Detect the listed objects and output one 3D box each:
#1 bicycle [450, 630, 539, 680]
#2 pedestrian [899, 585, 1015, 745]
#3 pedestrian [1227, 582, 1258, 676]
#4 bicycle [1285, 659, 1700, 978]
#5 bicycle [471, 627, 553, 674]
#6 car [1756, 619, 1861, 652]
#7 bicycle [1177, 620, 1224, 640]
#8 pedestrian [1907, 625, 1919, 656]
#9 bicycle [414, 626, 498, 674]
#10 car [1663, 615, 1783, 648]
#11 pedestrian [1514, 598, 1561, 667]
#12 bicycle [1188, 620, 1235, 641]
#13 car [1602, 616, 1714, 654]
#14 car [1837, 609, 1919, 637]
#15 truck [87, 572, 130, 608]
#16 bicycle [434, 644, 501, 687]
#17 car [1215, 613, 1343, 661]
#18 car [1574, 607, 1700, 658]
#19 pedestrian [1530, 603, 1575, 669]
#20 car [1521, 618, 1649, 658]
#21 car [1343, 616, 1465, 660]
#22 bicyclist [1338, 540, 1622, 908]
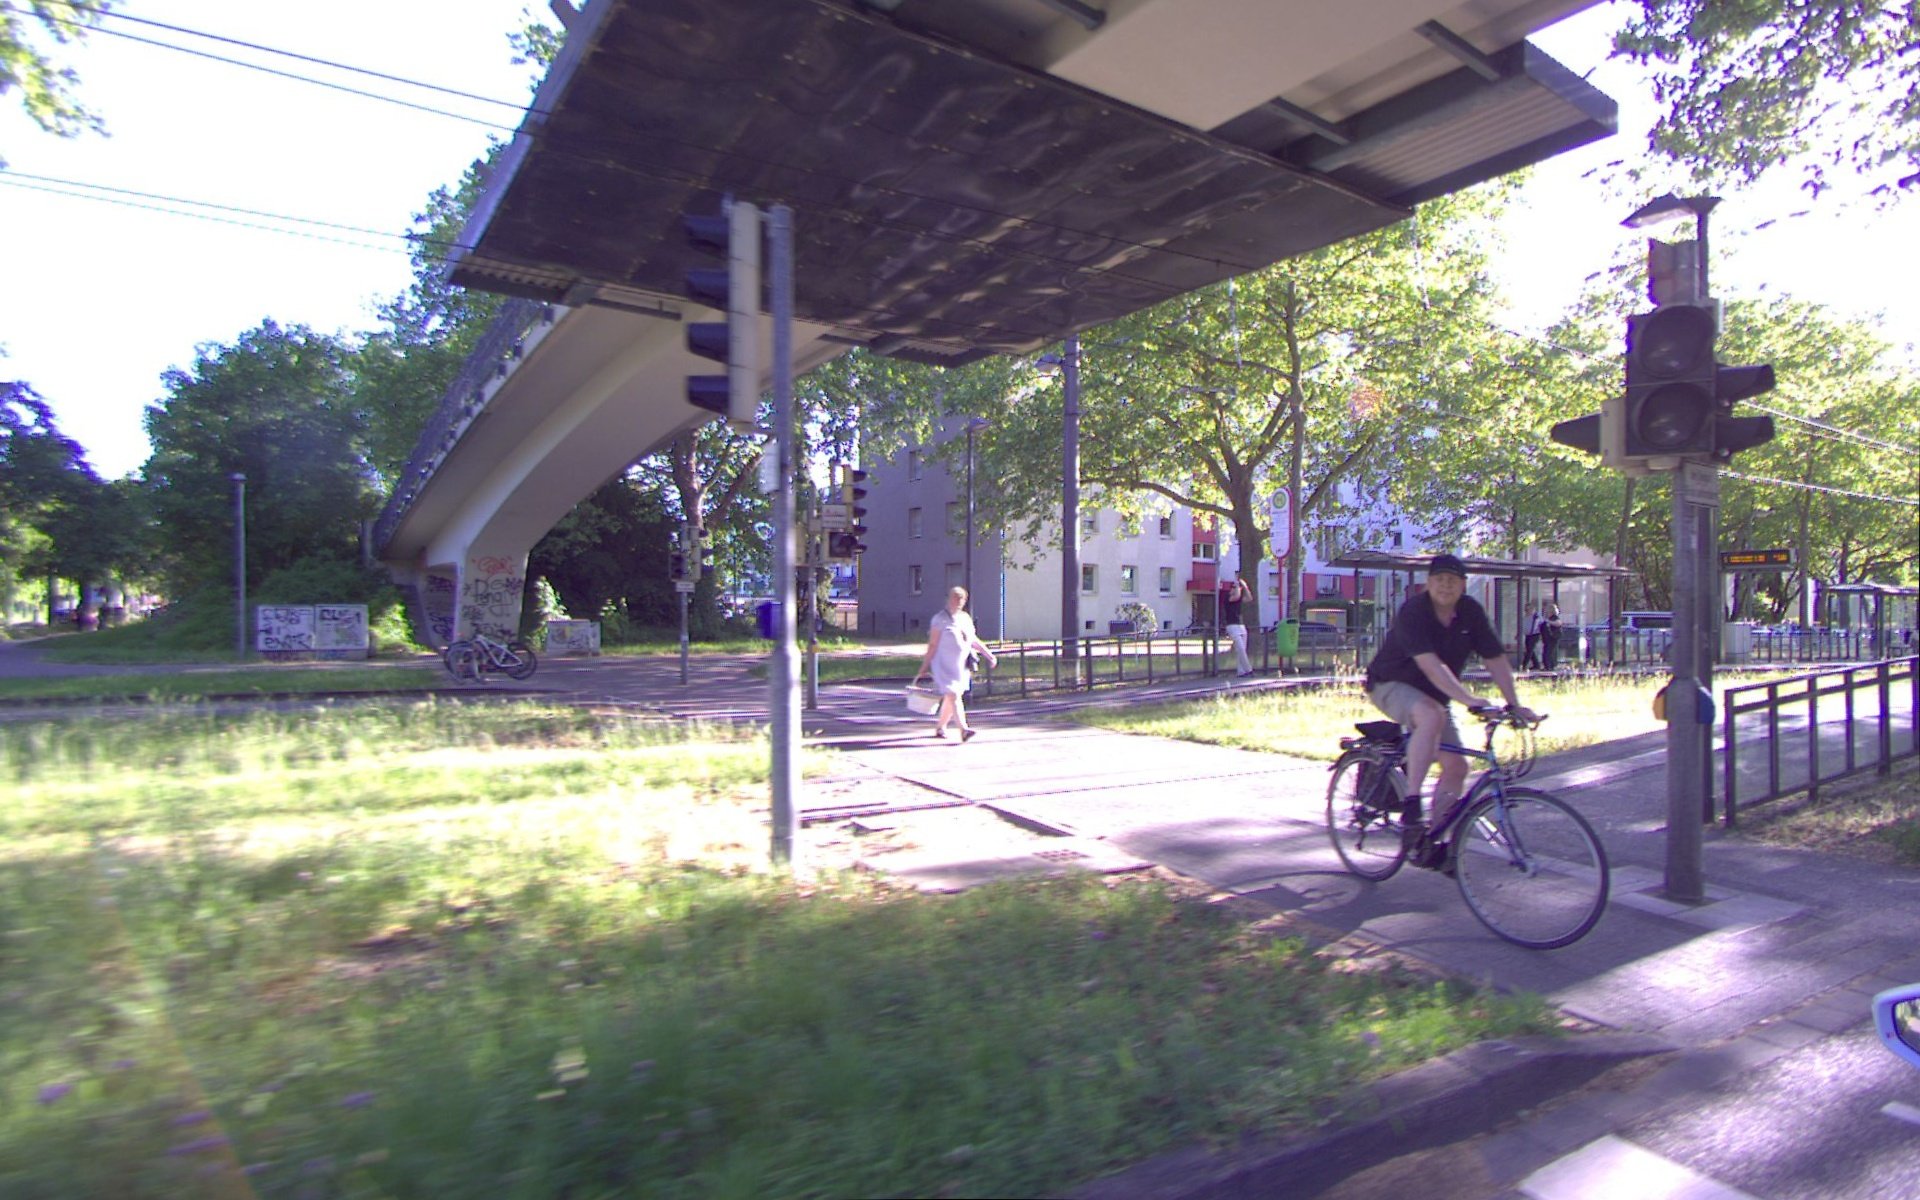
[{"bbox_3d":[-9.853,1.147,21.294,1.667,1.022,0.431,1,1,-31],"label":"bicycle"},{"bbox_3d":[-0.033,0.701,11.293,1.038,1.696,0.720,1,0,-34],"label":"pedestrian"},{"bbox_3d":[5.456,0.553,19.405,0.494,1.794,0.484,2,0,19],"label":"pedestrian"},{"bbox_3d":[2.557,0.960,5.126,0.801,1.162,1.830,1,1,-16],"label":"bicycle"},{"bbox_3d":[-10.153,1.138,22.783,1.667,1.022,0.431,1,1,-31],"label":"bicycle"},{"bbox_3d":[45.107,1.874,53.461,3.977,1.590,1.576,1,2,12],"label":"car"},{"bbox_3d":[11.774,1.464,49.200,2.568,0.940,0.691,0,1,-34],"label":"bicycle"},{"bbox_3d":[36.245,1.523,37.796,0.654,1.142,0.692,1,-4,-29],"label":"pedestrian"},{"bbox_3d":[-11.314,1.103,22.560,1.667,1.022,0.431,1,1,-31],"label":"bicycle"},{"bbox_3d":[38.455,1.552,50.711,4.408,1.524,1.901,1,1,12],"label":"car"},{"bbox_3d":[14.154,0.792,24.638,0.702,1.656,0.731,1,-1,-7],"label":"pedestrian"},{"bbox_3d":[12.164,1.475,48.500,2.568,0.940,0.691,0,1,-34],"label":"bicycle"},{"bbox_3d":[32.883,1.646,47.441,3.978,1.632,1.690,1,1,16],"label":"car"},{"bbox_3d":[56.395,1.379,61.344,3.914,1.565,1.646,1,1,19],"label":"car"},{"bbox_3d":[-78.765,-0.943,92.983,2.500,3.236,6.473,1,0,-36],"label":"truck"},{"bbox_3d":[-9.671,1.278,19.742,1.160,0.789,0.431,1,1,-31],"label":"bicycle"},{"bbox_3d":[11.093,1.238,34.941,4.118,1.447,1.699,1,1,22],"label":"car"},{"bbox_3d":[30.731,1.455,45.749,4.412,2.091,1.899,1,1,22],"label":"car"},{"bbox_3d":[13.846,0.843,23.477,0.670,1.534,0.645,0,-2,4],"label":"pedestrian"},{"bbox_3d":[27.484,1.644,44.318,4.410,1.518,1.900,1,1,18],"label":"car"},{"bbox_3d":[16.719,1.409,38.031,4.118,1.447,1.699,1,1,22],"label":"car"},{"bbox_3d":[2.574,0.553,5.073,0.801,1.654,0.953,1,2,-16],"label":"bicyclist"}]
